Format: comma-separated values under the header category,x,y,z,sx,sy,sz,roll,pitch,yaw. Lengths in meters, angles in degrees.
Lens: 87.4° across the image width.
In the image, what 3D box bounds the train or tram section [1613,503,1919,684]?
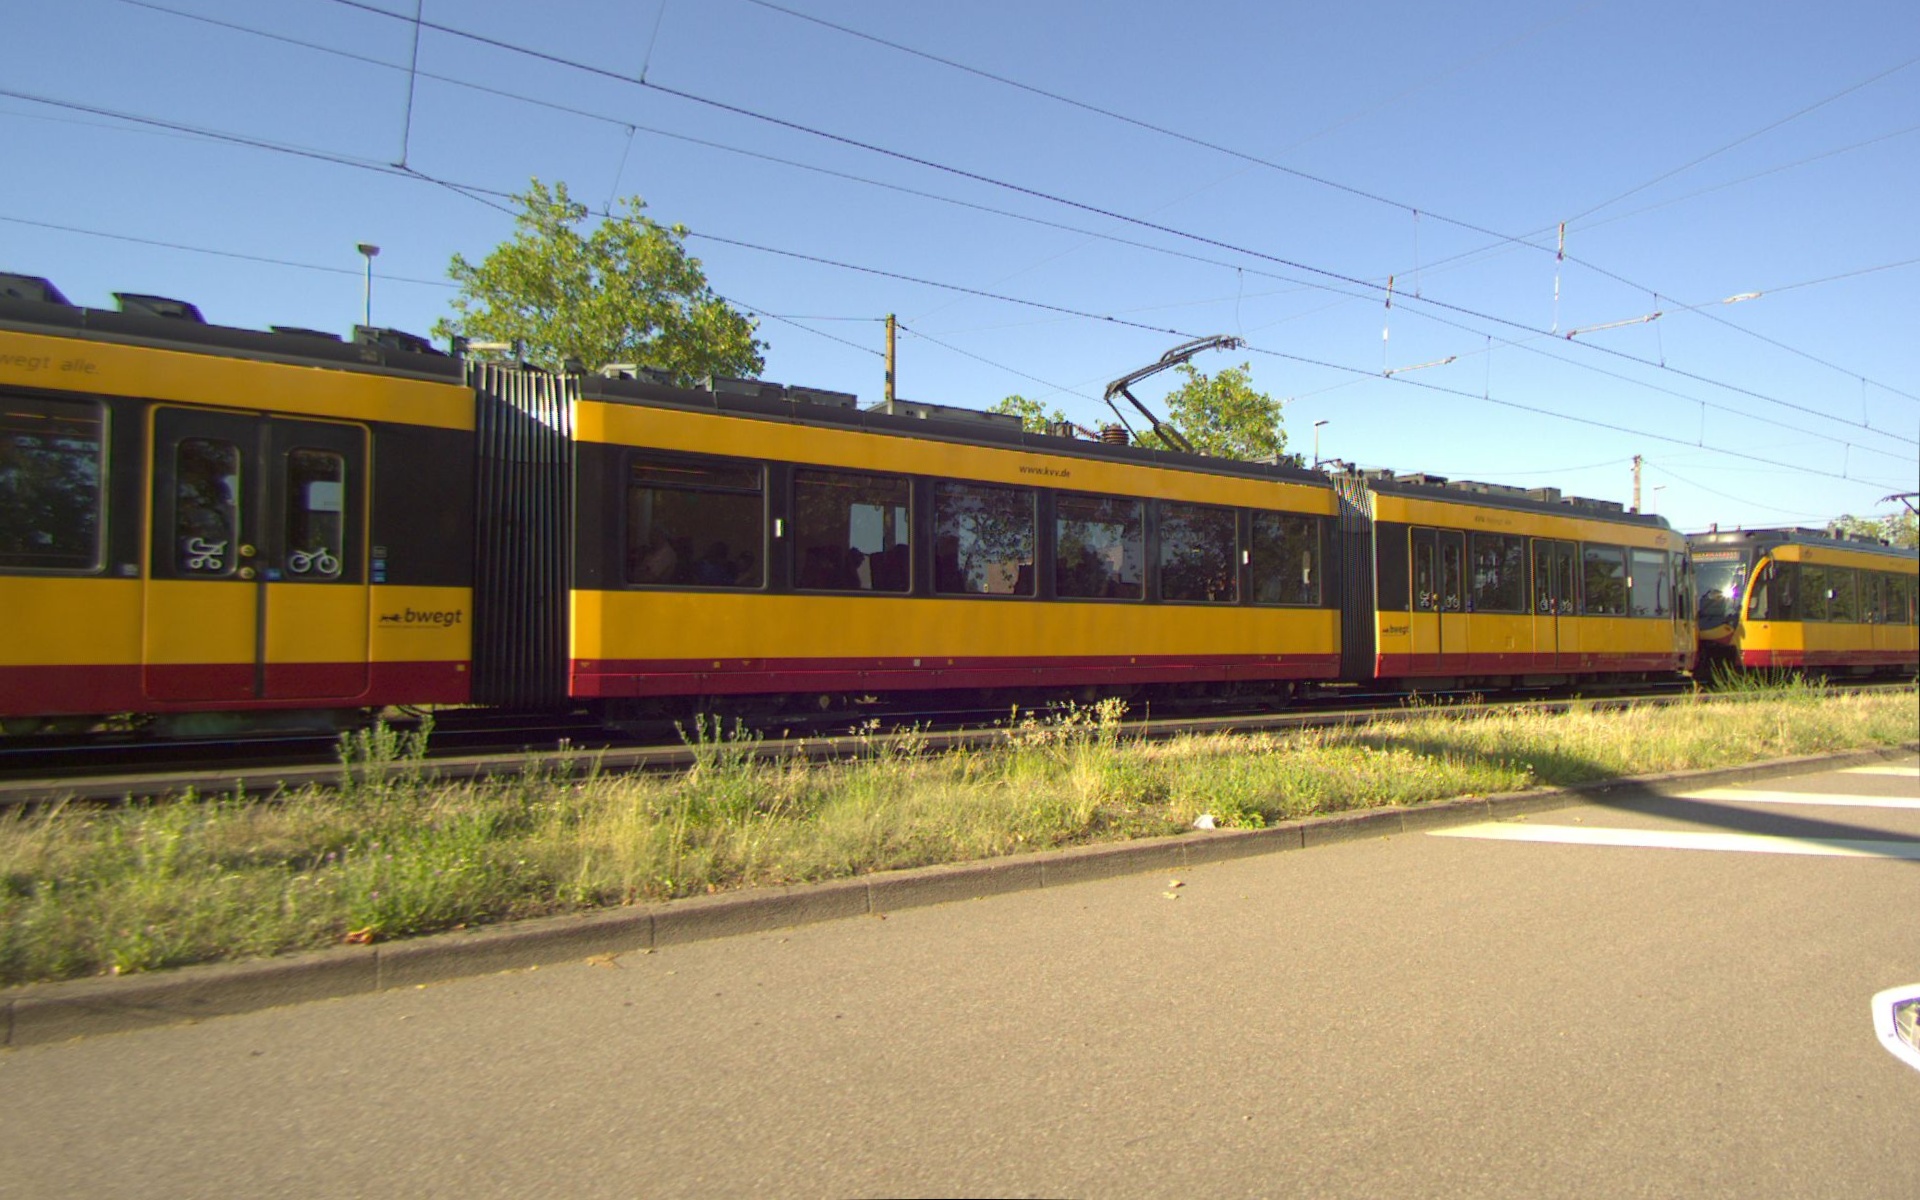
category,x,y,z,sx,sy,sz,roll,pitch,yaw
train or tram section,22.184,0.005,26.730,12.561,4.003,2.809,2,0,-31

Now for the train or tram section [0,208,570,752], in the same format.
category,x,y,z,sx,sy,sz,roll,pitch,yaw
train or tram section,-9.584,-0.952,7.378,12.192,3.954,2.789,2,0,-31

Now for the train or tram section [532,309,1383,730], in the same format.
category,x,y,z,sx,sy,sz,roll,pitch,yaw
train or tram section,0.765,-0.610,13.733,11.855,3.954,2.789,2,0,-31

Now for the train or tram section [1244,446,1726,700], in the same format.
category,x,y,z,sx,sy,sz,roll,pitch,yaw
train or tram section,10.842,-0.278,19.912,11.679,3.954,2.789,2,0,-31

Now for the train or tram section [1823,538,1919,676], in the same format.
category,x,y,z,sx,sy,sz,roll,pitch,yaw
train or tram section,32.912,0.359,33.208,12.509,4.003,2.809,2,0,-31
